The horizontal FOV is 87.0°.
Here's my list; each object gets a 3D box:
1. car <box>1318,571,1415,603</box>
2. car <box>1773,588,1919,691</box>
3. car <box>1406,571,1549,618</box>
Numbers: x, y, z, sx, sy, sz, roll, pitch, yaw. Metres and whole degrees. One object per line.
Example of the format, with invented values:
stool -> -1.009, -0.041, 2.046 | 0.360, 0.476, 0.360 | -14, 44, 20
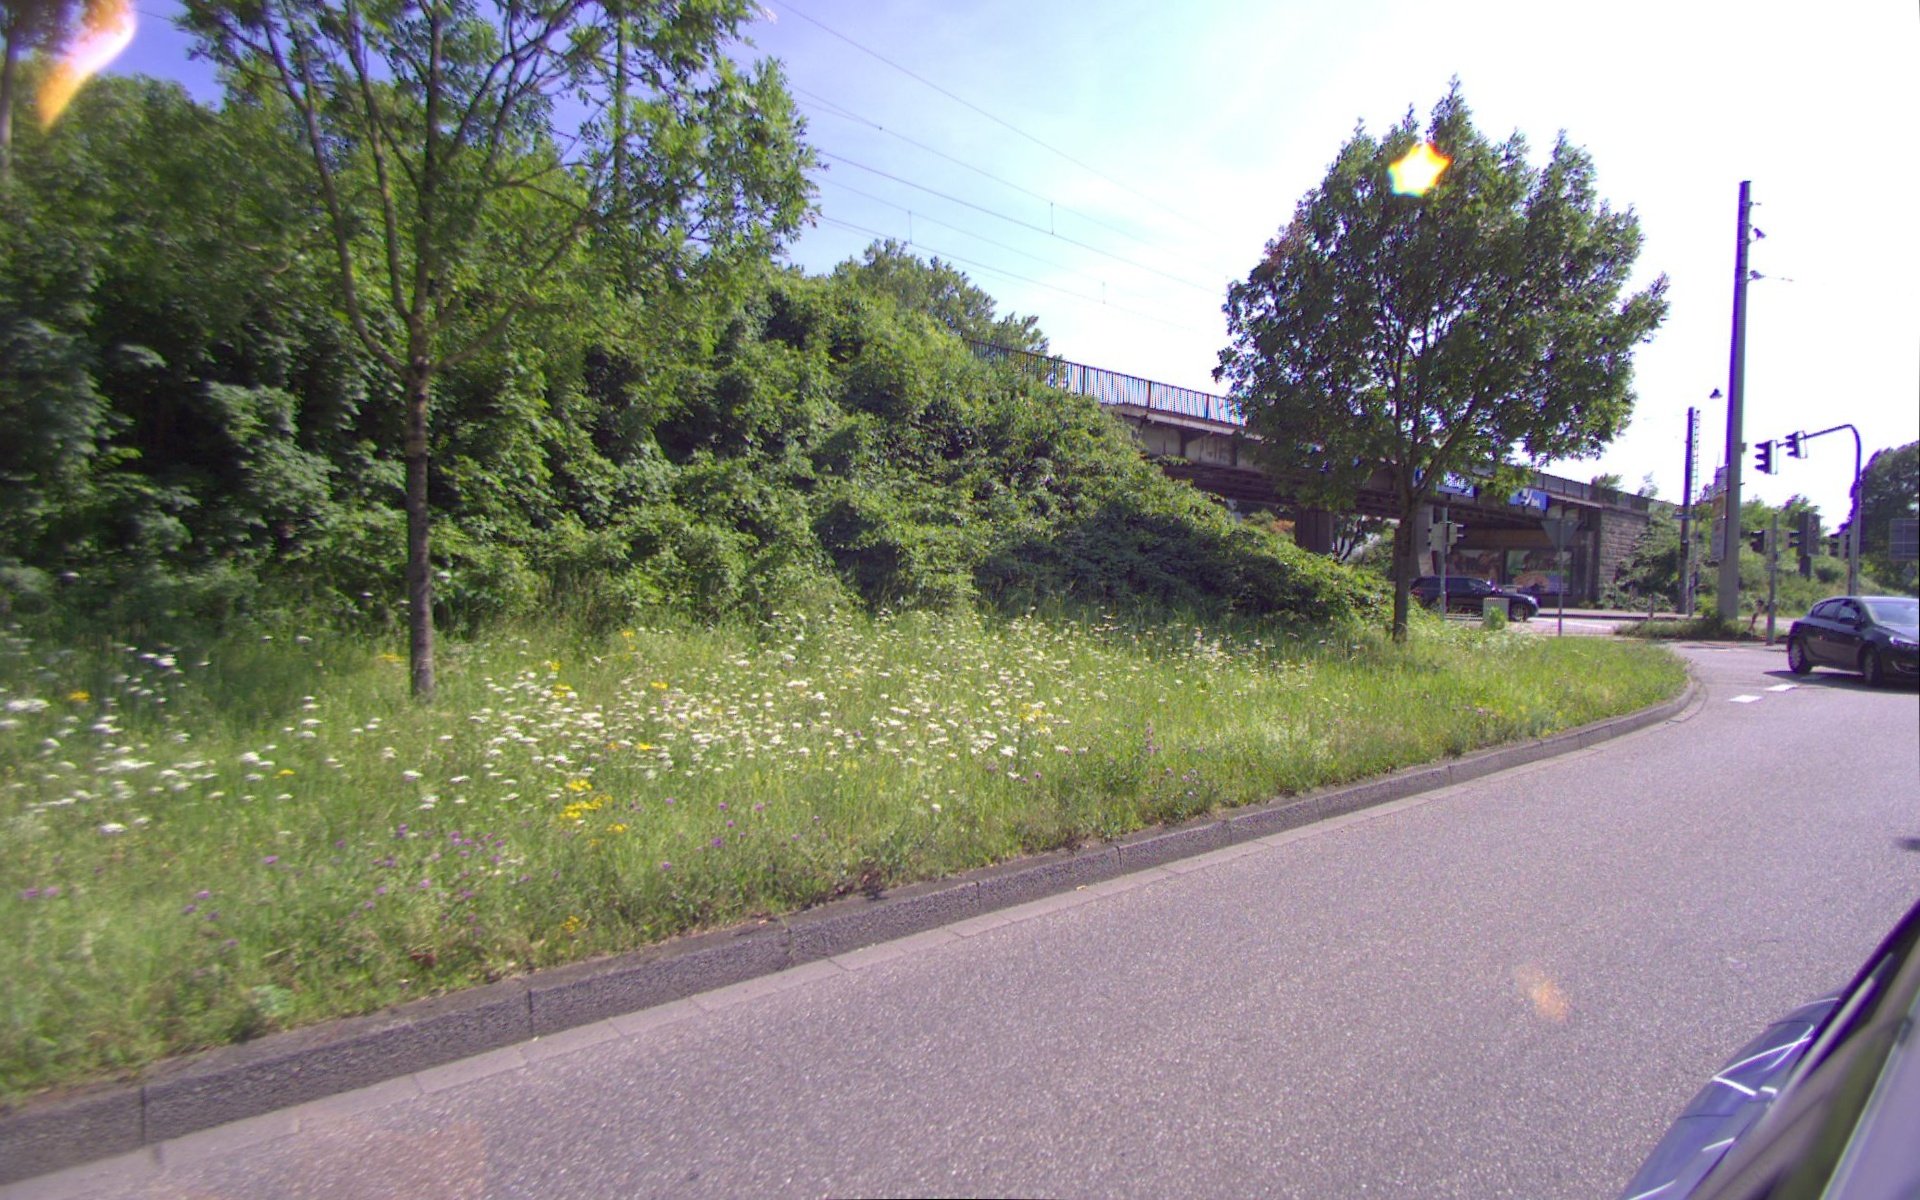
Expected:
car -> 21.466, -0.704, 53.622 | 4.495, 1.569, 1.822 | 2, 1, 15
car -> 15.932, 0.596, 17.081 | 1.801, 1.525, 4.198 | 2, 2, 14
car -> 19.513, -0.231, 38.378 | 4.377, 1.616, 1.993 | 2, 1, 12
